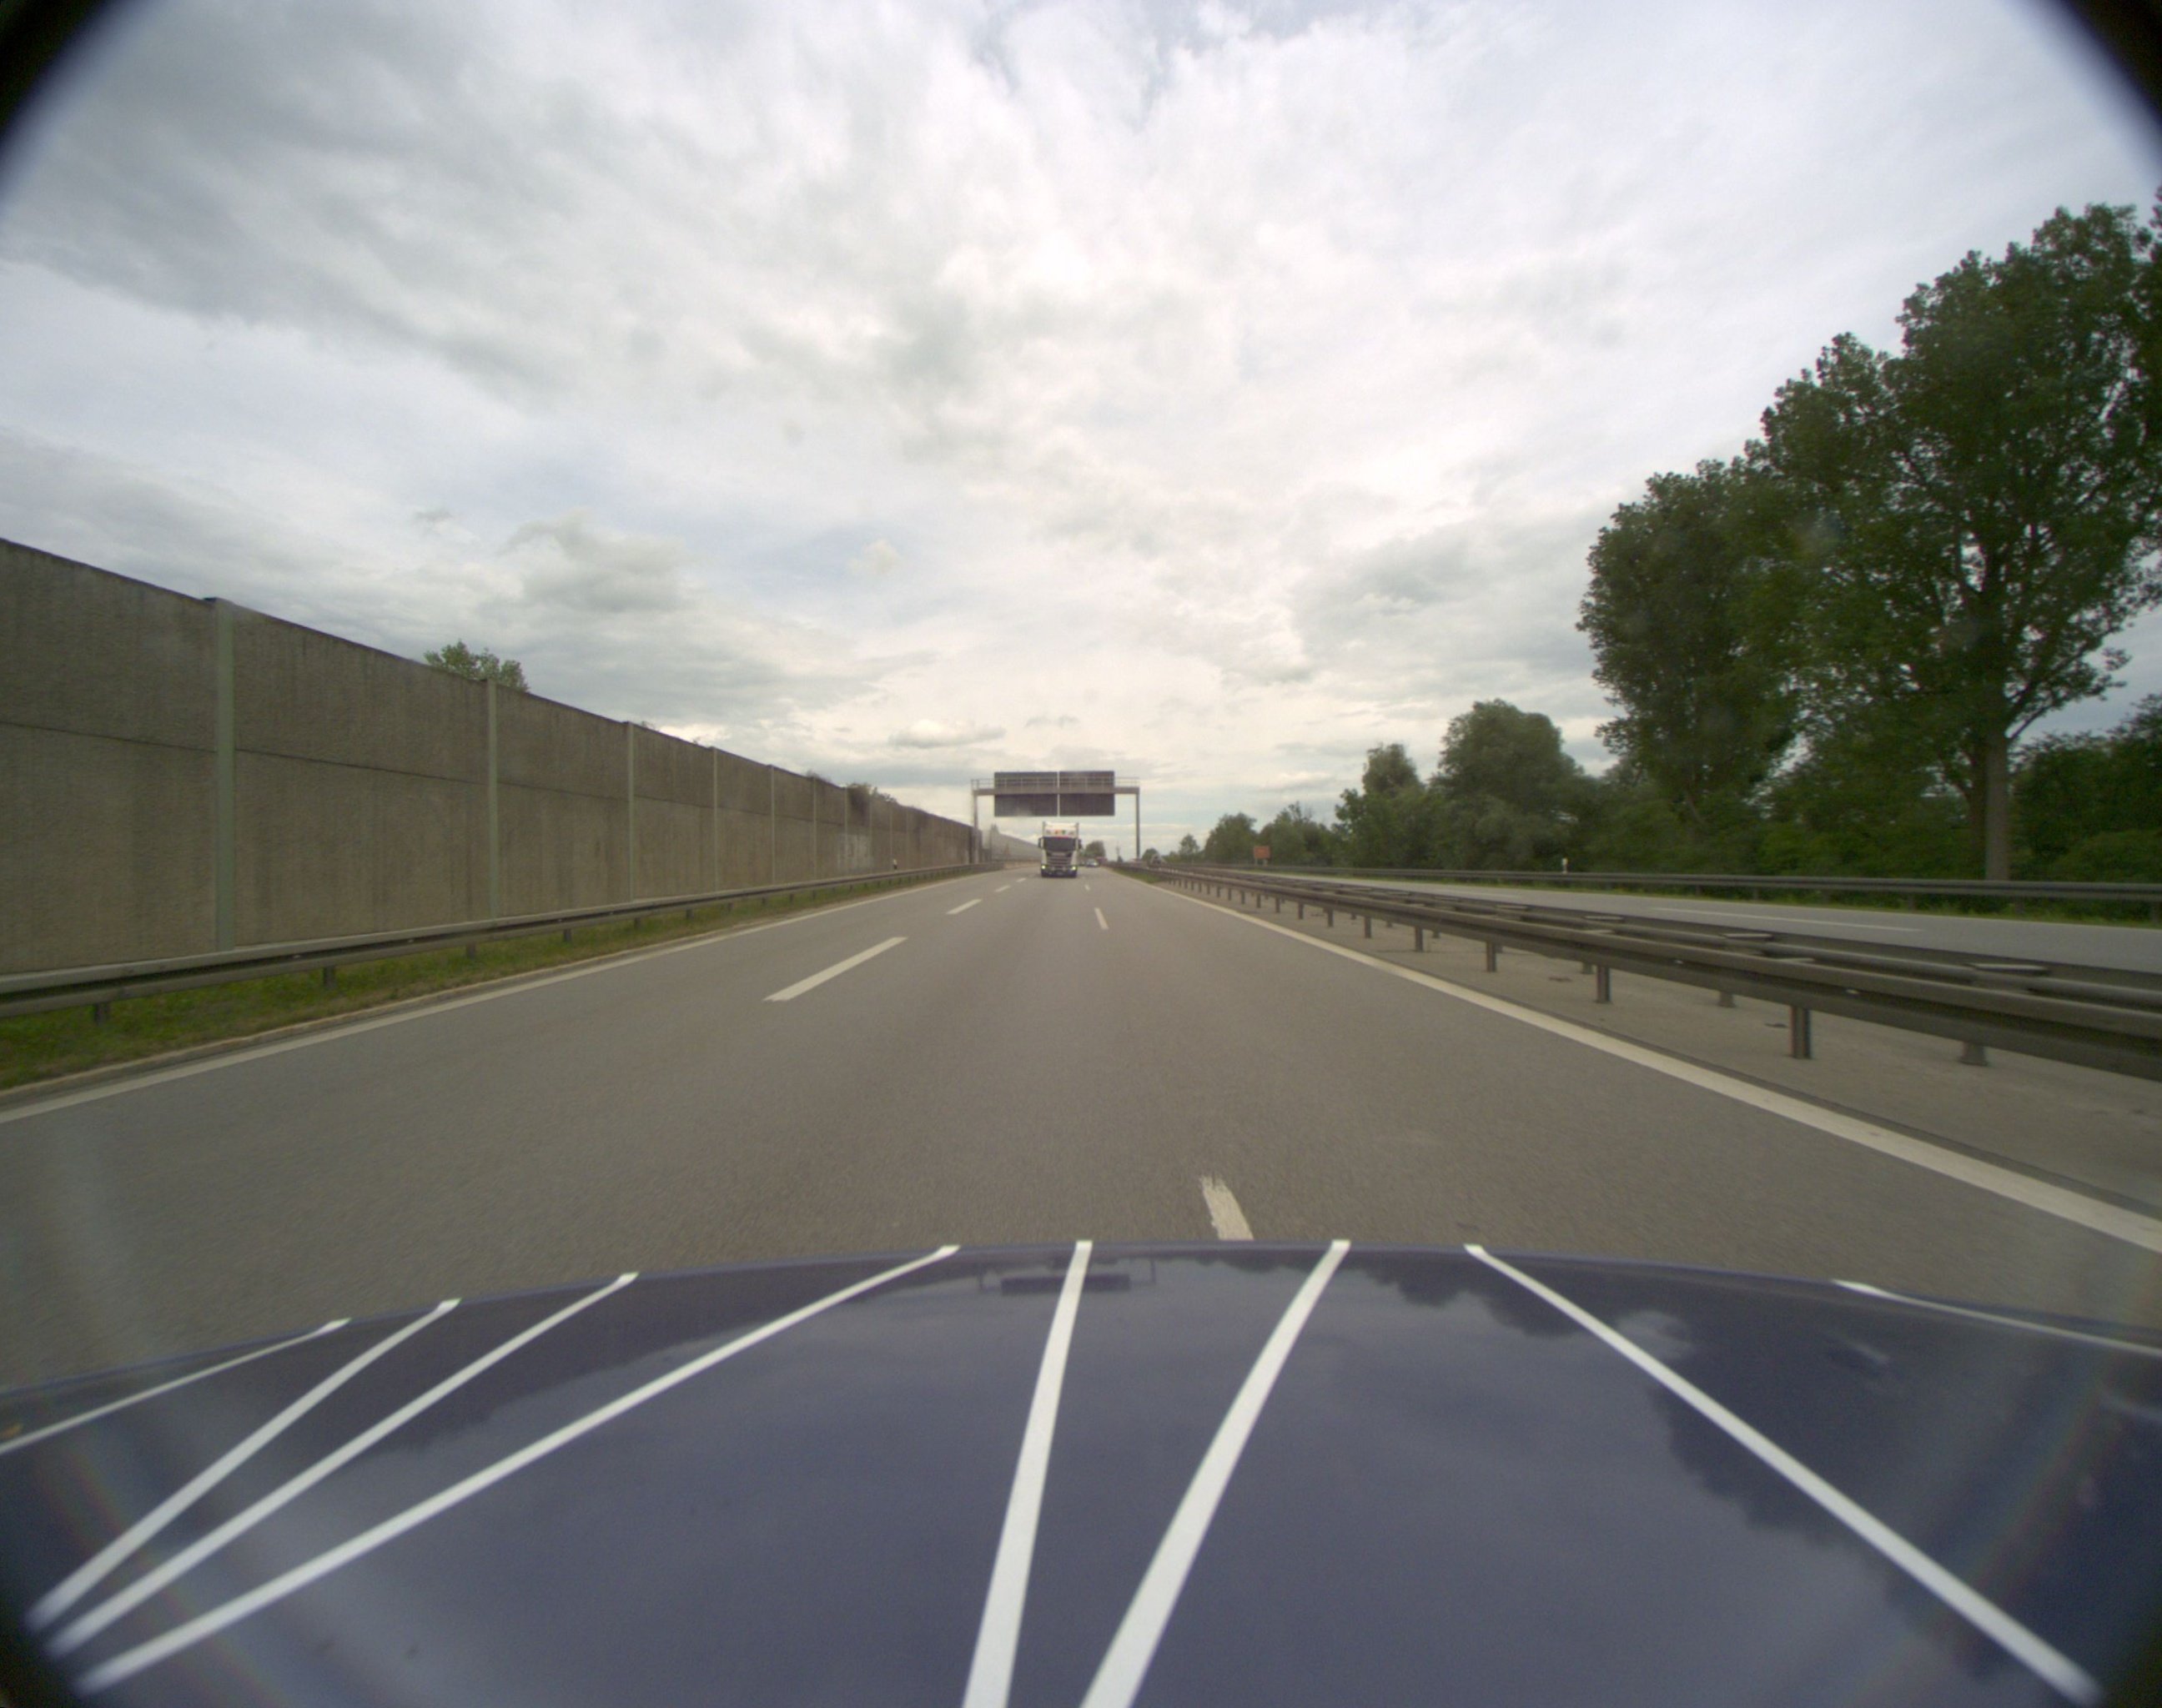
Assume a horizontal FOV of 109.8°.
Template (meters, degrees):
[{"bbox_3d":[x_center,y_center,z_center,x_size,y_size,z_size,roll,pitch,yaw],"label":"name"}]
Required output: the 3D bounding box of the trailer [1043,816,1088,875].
[{"bbox_3d":[-1.075,-0.528,61.241,2.799,4.149,14.107,1,-1,2],"label":"trailer"}]

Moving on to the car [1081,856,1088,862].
[{"bbox_3d":[0.829,1.245,194.787,1.889,1.608,4.000,0,0,0],"label":"car"}]

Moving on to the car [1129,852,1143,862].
[{"bbox_3d":[9.158,0.448,127.081,1.998,1.605,5.028,0,0,1],"label":"car"}]

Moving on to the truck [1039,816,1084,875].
[{"bbox_3d":[-1.297,-0.536,53.925,2.762,3.936,5.678,1,-1,2],"label":"truck"}]

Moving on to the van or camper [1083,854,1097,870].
[{"bbox_3d":[1.595,1.453,136.446,2.435,2.680,7.227,1,-2,1],"label":"van or camper"}]

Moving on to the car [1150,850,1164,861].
[{"bbox_3d":[13.767,0.281,137.322,1.999,1.991,4.743,0,0,-1],"label":"car"}]
